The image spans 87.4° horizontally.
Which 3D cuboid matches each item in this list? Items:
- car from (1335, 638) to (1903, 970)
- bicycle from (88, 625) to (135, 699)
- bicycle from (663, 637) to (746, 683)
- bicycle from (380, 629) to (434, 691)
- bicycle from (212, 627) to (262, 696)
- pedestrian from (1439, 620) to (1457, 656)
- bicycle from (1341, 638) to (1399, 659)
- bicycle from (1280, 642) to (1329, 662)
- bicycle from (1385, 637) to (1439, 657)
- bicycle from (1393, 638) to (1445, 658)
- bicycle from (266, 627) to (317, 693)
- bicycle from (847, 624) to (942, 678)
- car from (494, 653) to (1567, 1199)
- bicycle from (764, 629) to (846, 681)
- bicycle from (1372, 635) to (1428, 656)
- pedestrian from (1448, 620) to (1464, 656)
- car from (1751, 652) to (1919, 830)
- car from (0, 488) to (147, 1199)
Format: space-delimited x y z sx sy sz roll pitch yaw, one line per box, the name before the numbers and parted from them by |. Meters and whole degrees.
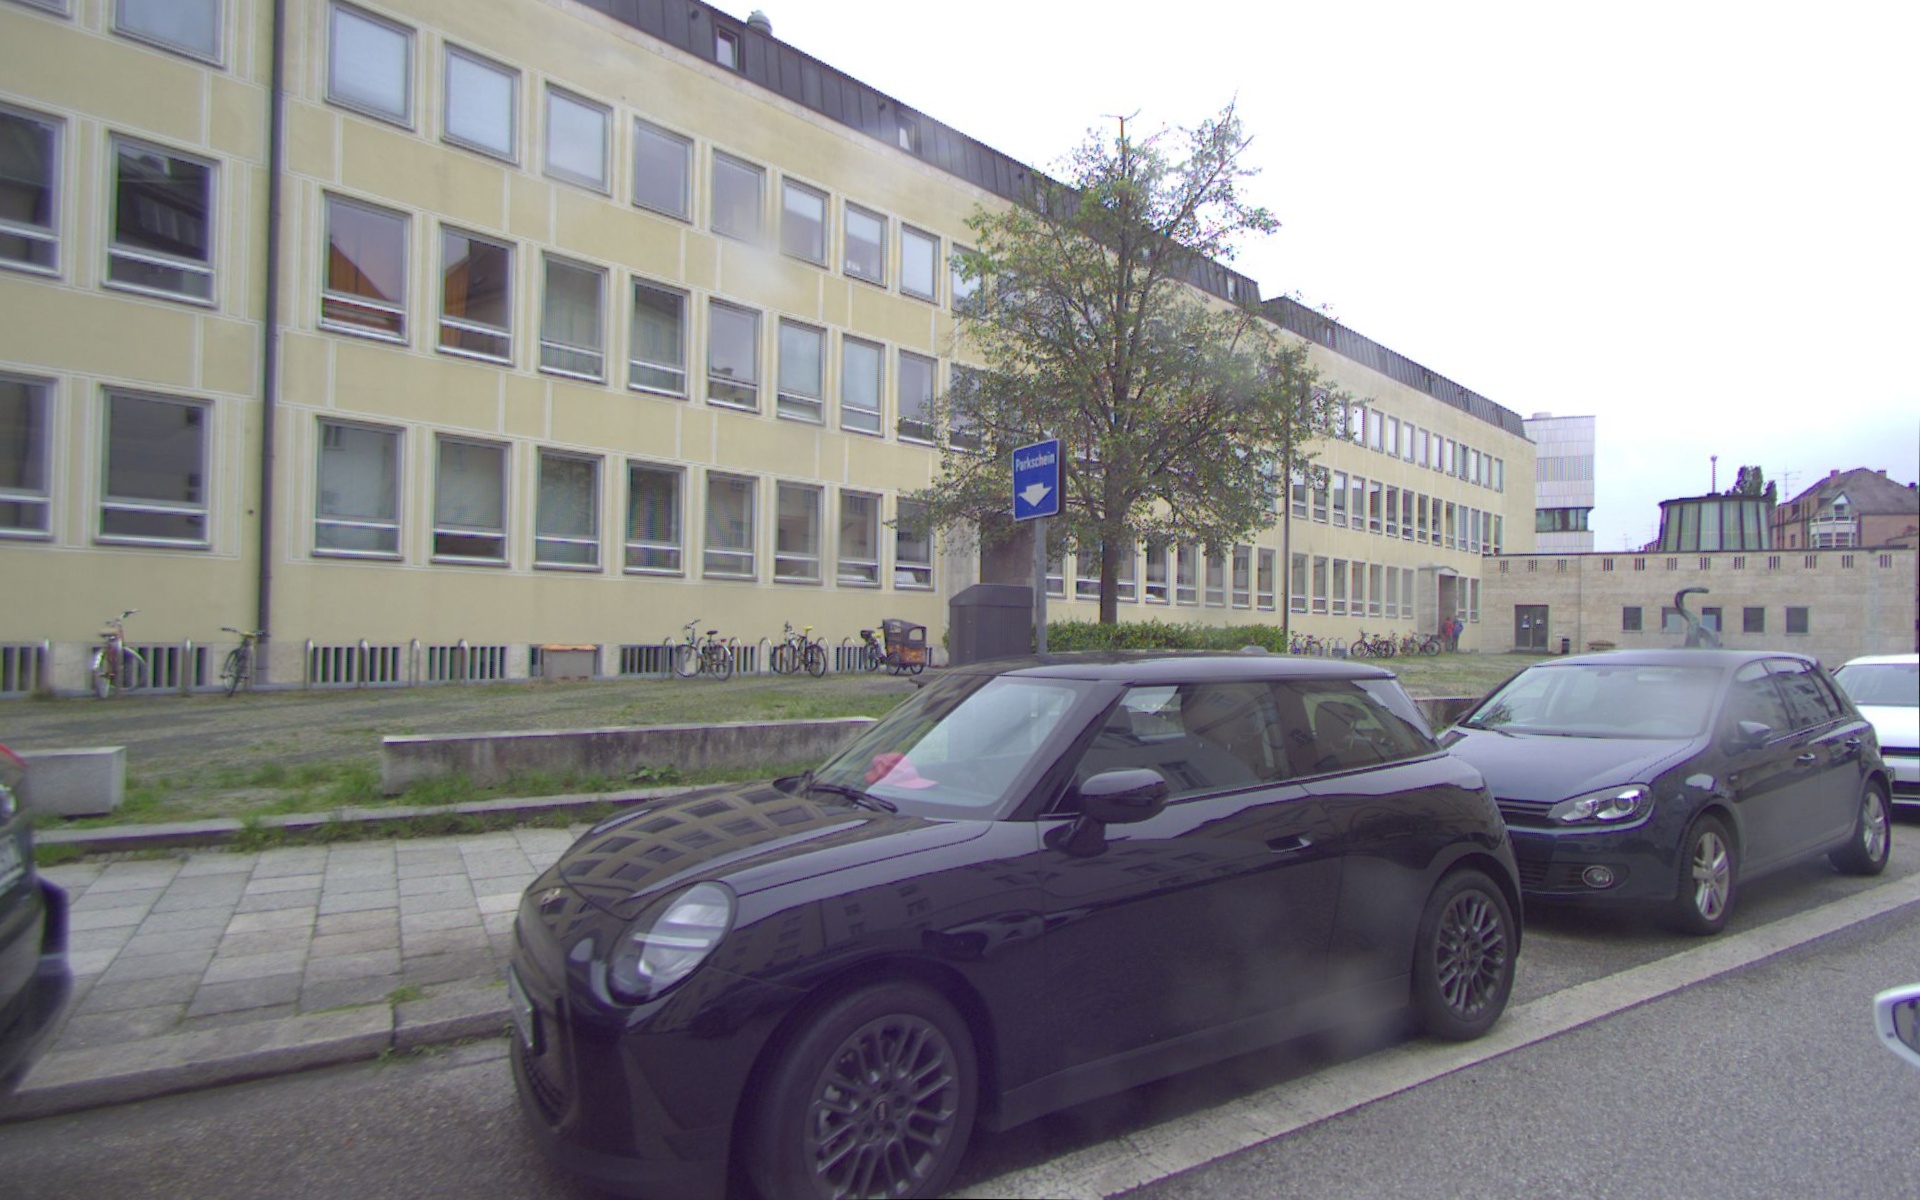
car | 4.321 1.023 6.420 3.939 1.528 1.614 2 -3 -33
bicycle | -12.043 0.853 14.246 1.512 0.967 0.364 0 -1 45
bicycle | -5.218 1.206 20.429 2.181 0.846 0.492 0 -3 43
bicycle | -9.255 0.985 16.781 1.512 0.967 0.364 0 -1 45
bicycle | -11.041 0.920 15.317 1.512 0.967 0.364 0 -1 45
pedestrian | 24.053 1.872 49.521 0.661 1.759 0.640 3 1 36
bicycle | 17.540 2.063 42.984 2.181 0.846 0.703 0 -3 43
bicycle | 13.382 2.037 39.065 1.718 0.724 0.611 0 -3 42
bicycle | 20.633 2.145 45.862 2.181 0.846 0.492 0 -3 43
bicycle | 21.381 2.228 46.806 2.181 0.846 0.492 0 -3 43
bicycle | -10.565 0.924 15.858 1.512 0.967 0.364 0 -1 45
bicycle | -1.582 1.183 23.886 1.040 1.184 2.223 2 -1 -45
car | 0.431 0.918 3.742 3.757 1.430 1.615 2 -4 -32
bicycle | -3.376 1.179 21.747 2.181 1.051 0.492 0 -3 43
bicycle | 19.540 2.015 44.671 2.181 0.846 0.703 0 -3 43
pedestrian | 24.780 1.903 50.193 0.590 1.759 0.663 3 1 29
car | 9.312 1.225 9.579 3.939 1.438 1.614 2 -3 -33
car | -3.783 0.629 1.301 3.982 1.713 1.693 1 -3 -31
